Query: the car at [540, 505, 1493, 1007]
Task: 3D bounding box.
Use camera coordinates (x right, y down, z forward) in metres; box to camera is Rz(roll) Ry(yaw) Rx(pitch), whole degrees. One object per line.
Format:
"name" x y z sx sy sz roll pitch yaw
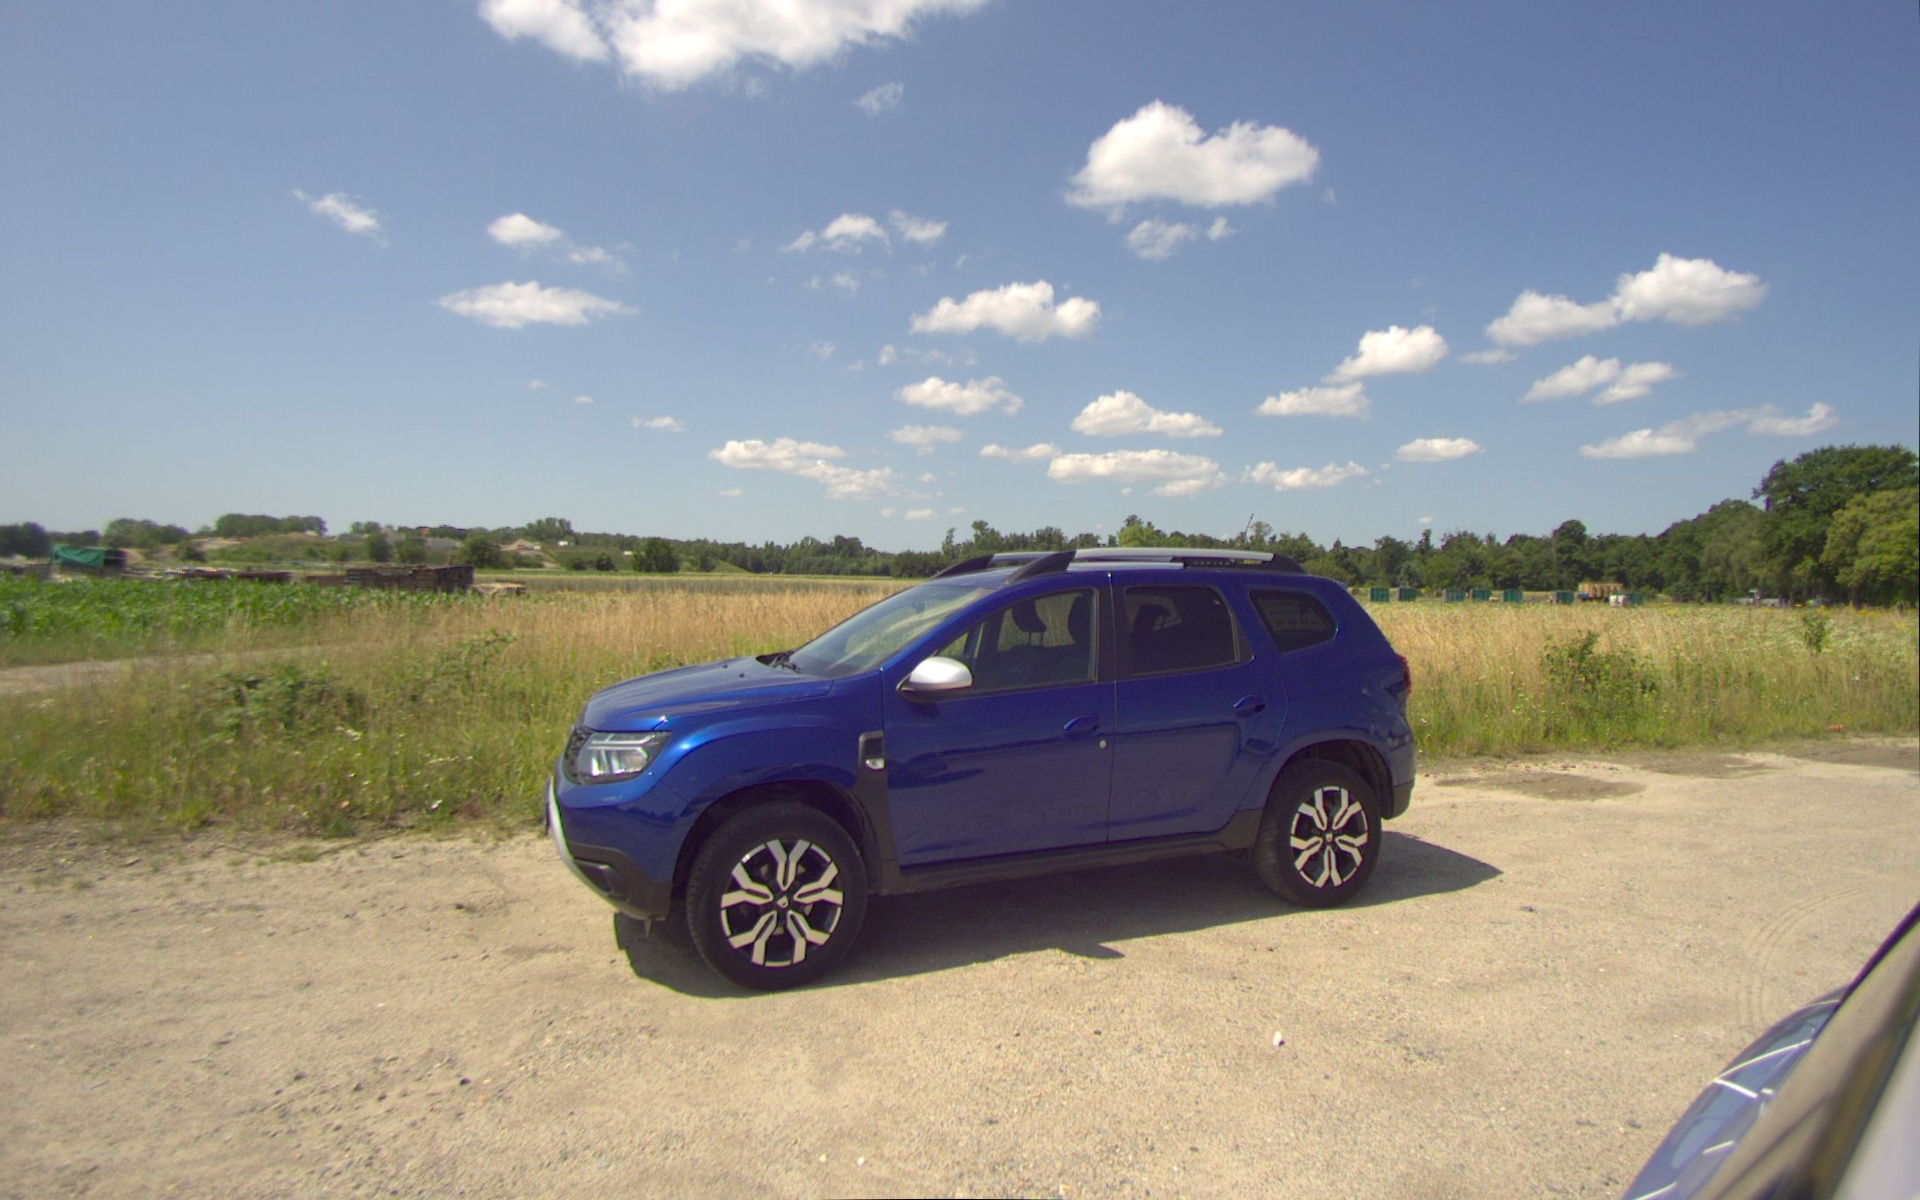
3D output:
"car" 0.274 0.494 5.072 4.365 1.682 1.868 0 1 -22
